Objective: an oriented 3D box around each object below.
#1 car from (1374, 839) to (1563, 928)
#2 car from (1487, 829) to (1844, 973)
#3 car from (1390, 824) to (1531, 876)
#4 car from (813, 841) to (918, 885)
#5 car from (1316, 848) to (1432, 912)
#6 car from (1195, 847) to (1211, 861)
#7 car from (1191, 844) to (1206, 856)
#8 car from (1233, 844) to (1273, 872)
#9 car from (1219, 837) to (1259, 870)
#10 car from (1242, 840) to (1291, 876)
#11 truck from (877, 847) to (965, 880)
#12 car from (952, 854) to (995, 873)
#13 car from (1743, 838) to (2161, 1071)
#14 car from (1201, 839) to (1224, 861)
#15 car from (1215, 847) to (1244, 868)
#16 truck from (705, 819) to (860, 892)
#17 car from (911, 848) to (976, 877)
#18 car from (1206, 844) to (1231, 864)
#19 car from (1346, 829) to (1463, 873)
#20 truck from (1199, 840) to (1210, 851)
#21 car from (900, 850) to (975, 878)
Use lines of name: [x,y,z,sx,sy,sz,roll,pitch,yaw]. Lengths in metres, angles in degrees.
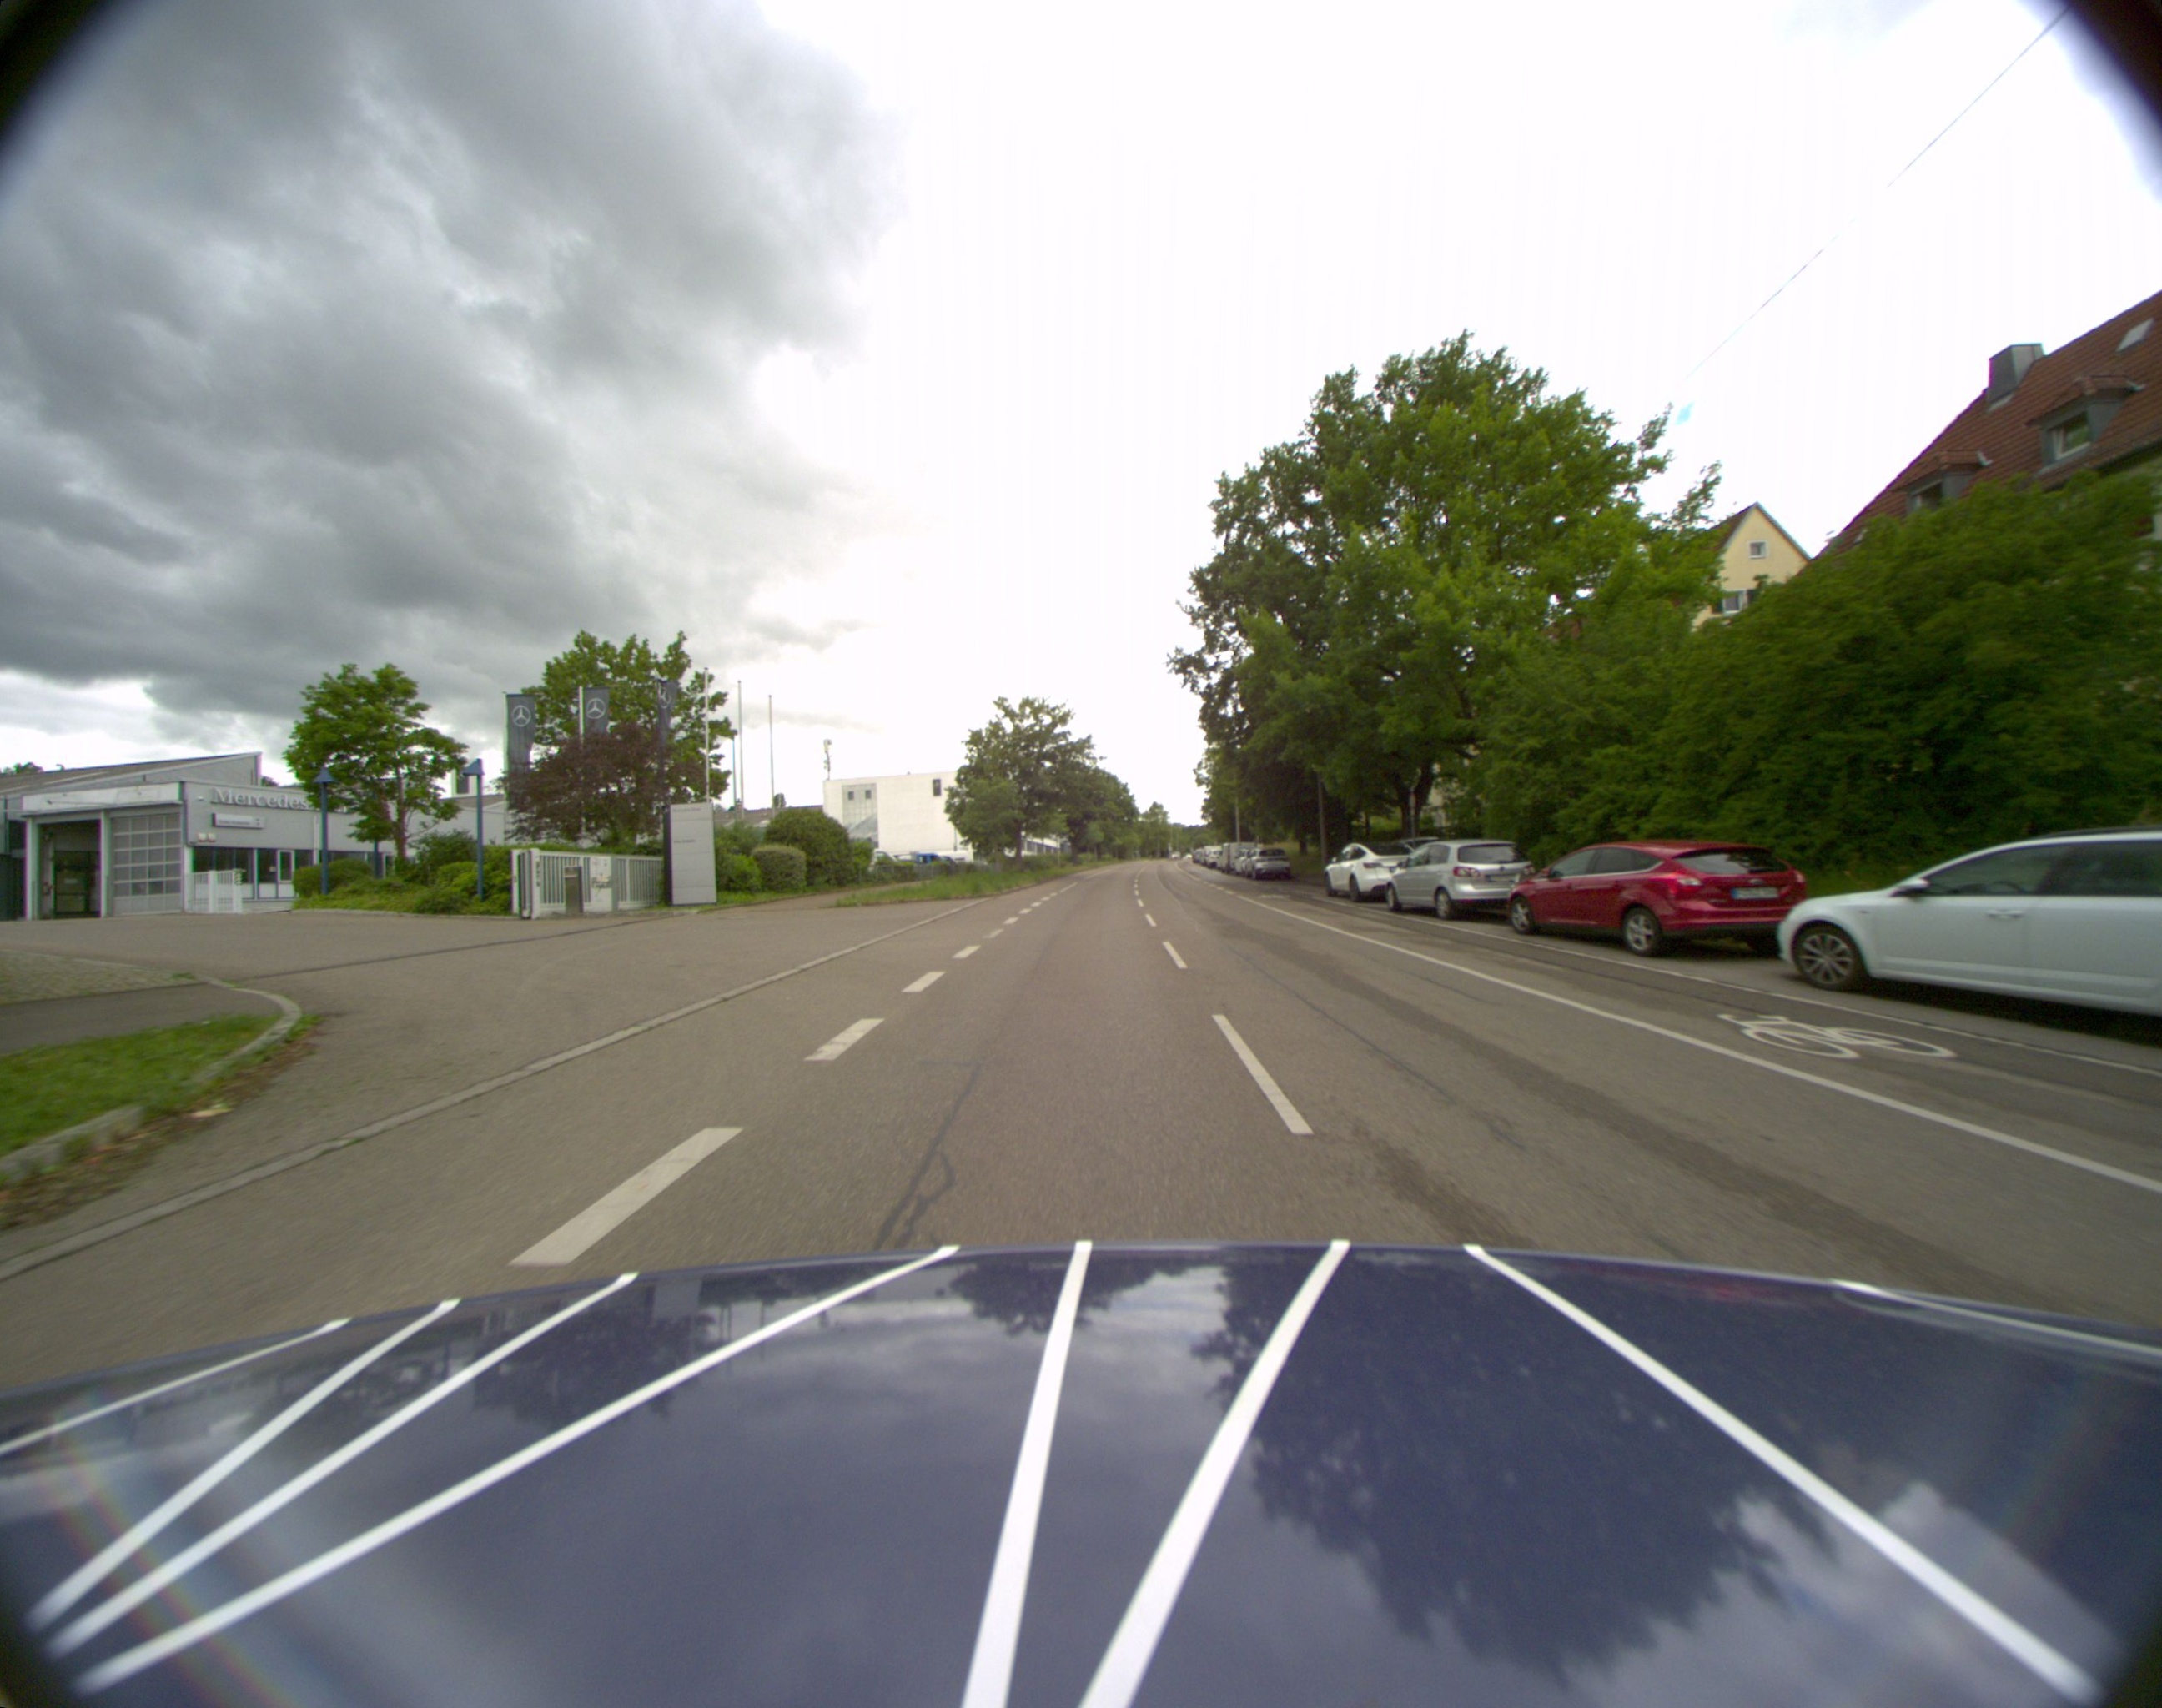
car: [8.004,0.524,16.188,1.873,1.564,4.119,-3,1,0]
car: [7.866,0.518,10.882,1.719,1.564,4.370,-3,1,0]
car: [14.650,-0.151,29.546,4.441,1.446,1.888,-6,0,7]
car: [-13.432,0.519,47.443,6.034,2.353,2.359,-3,0,-17]
car: [8.210,0.659,21.746,1.771,1.564,4.760,-1,1,4]
car: [14.740,0.015,91.949,1.771,1.582,4.137,-2,0,6]
car: [15.091,-0.555,97.193,1.771,1.439,4.152,-2,0,10]
car: [9.709,0.221,43.163,1.585,1.473,3.720,-2,0,3]
car: [10.088,-0.070,48.803,1.870,1.952,5.128,-2,0,5]
car: [9.295,0.185,38.383,1.770,1.624,4.159,-2,0,5]
truck: [-12.371,0.716,58.747,6.259,2.199,2.243,-3,0,-21]
car: [-12.948,1.180,91.555,4.583,2.022,2.067,-3,0,-33]
car: [7.867,0.639,5.646,1.719,1.451,4.756,-3,1,0]
car: [12.808,-0.373,74.305,1.772,1.919,5.157,-3,0,6]
car: [11.216,0.243,57.579,1.666,1.470,4.091,-2,0,4]
truck: [-15.384,0.057,39.627,7.192,3.457,2.615,-2,0,-18]
car: [-11.977,0.740,66.259,5.265,2.175,2.068,-3,1,-19]
car: [11.387,-0.039,63.042,1.677,1.555,4.283,-2,0,5]
car: [14.674,-0.142,34.655,4.443,1.442,1.869,-7,0,1]
truck: [41.017,-2.702,251.876,2.829,3.460,7.830,-2,0,12]
car: [-11.775,0.786,62.330,5.830,1.945,2.069,-3,0,-16]
